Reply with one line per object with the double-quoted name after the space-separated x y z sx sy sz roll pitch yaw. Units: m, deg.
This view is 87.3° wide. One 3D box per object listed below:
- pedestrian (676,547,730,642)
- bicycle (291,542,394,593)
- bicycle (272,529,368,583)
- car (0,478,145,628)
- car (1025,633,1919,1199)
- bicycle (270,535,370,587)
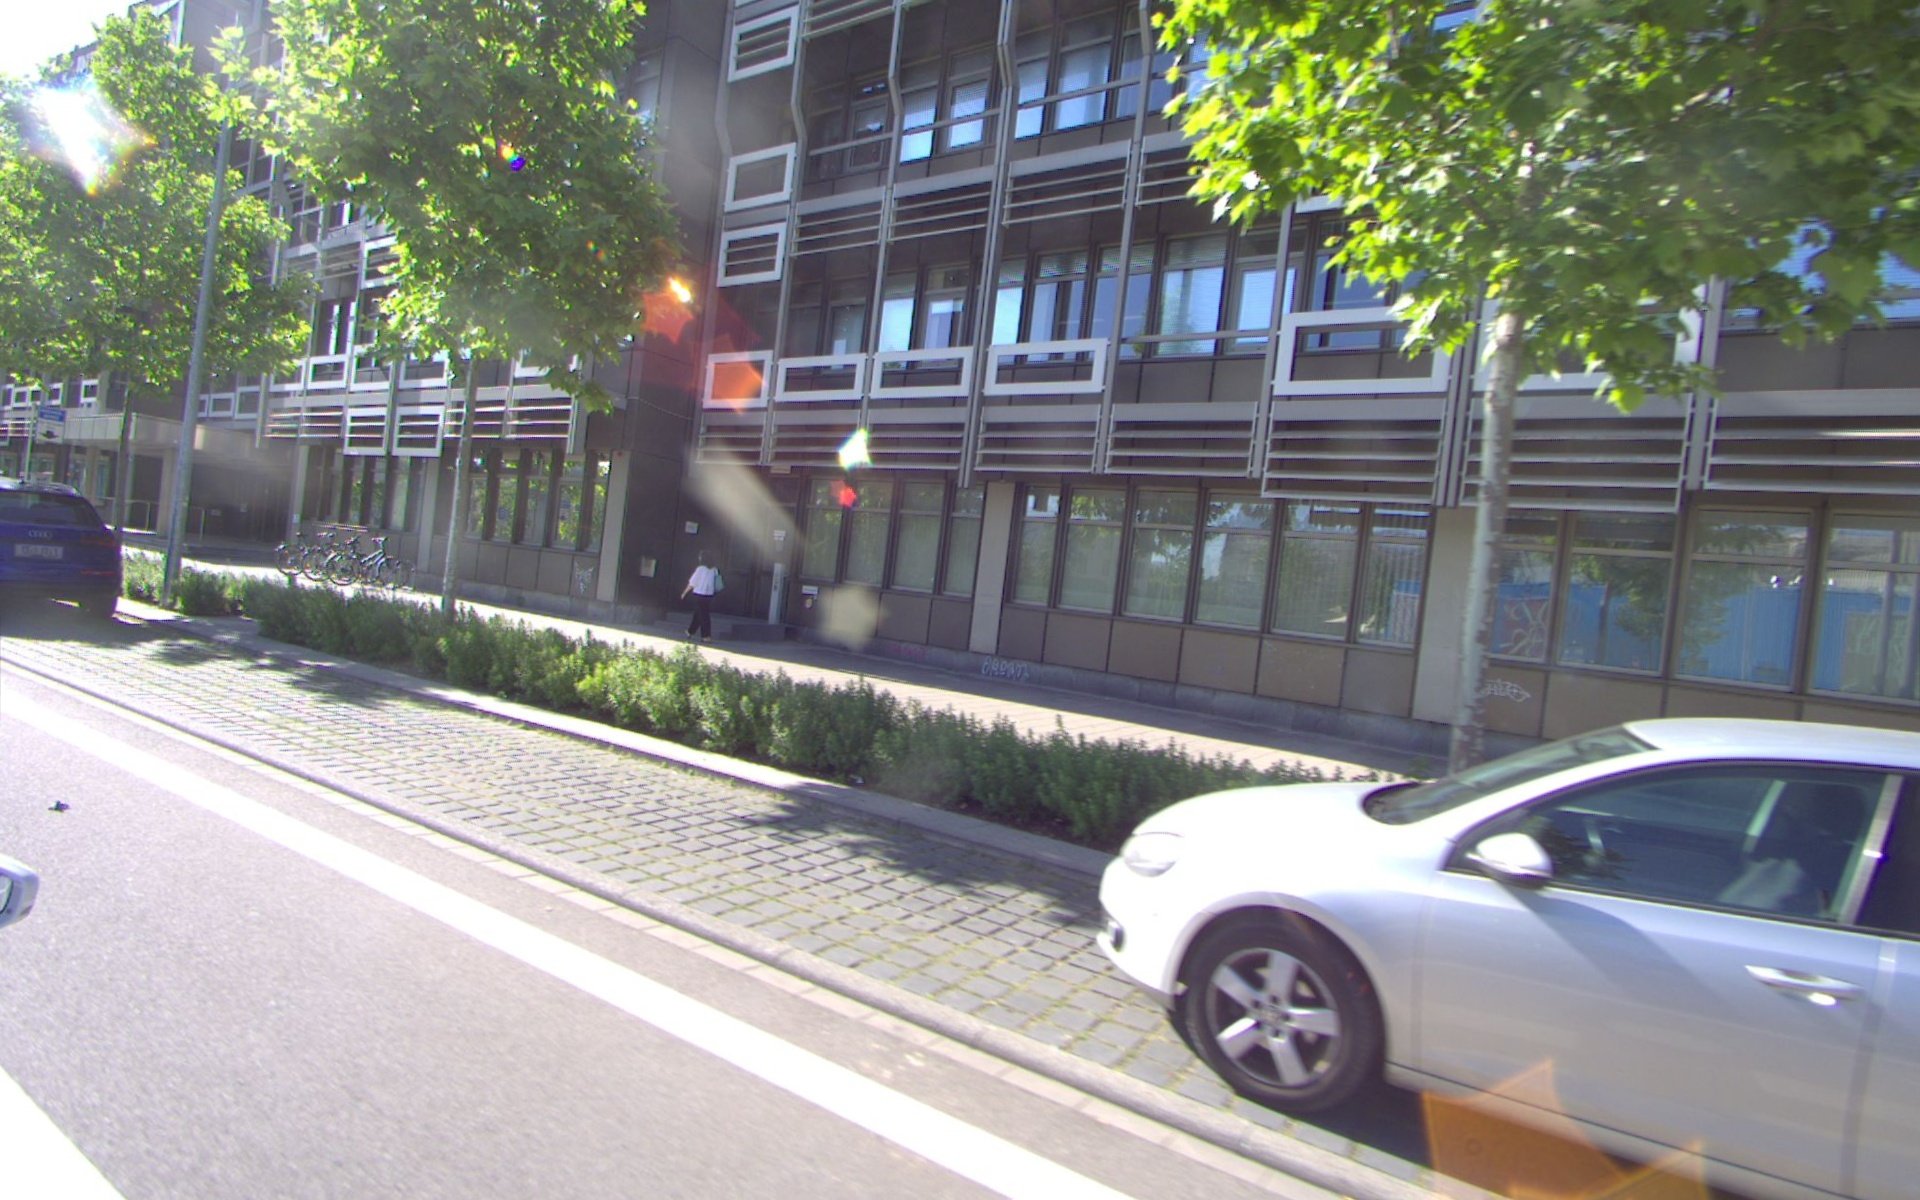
-4.634 -0.091 18.141 0.663 1.644 0.510 7 3 35 "pedestrian"
-13.535 -0.703 22.091 0.420 0.951 1.856 7 2 37 "bicycle"
-15.395 -1.044 24.239 0.420 1.112 1.856 7 2 37 "bicycle"
-12.731 -0.763 13.113 4.770 1.678 1.850 7 1 33 "car"
2.465 1.103 3.435 4.086 1.484 1.619 7 1 31 "car"
-14.577 -0.882 22.974 0.420 1.024 1.856 7 2 37 "bicycle"
